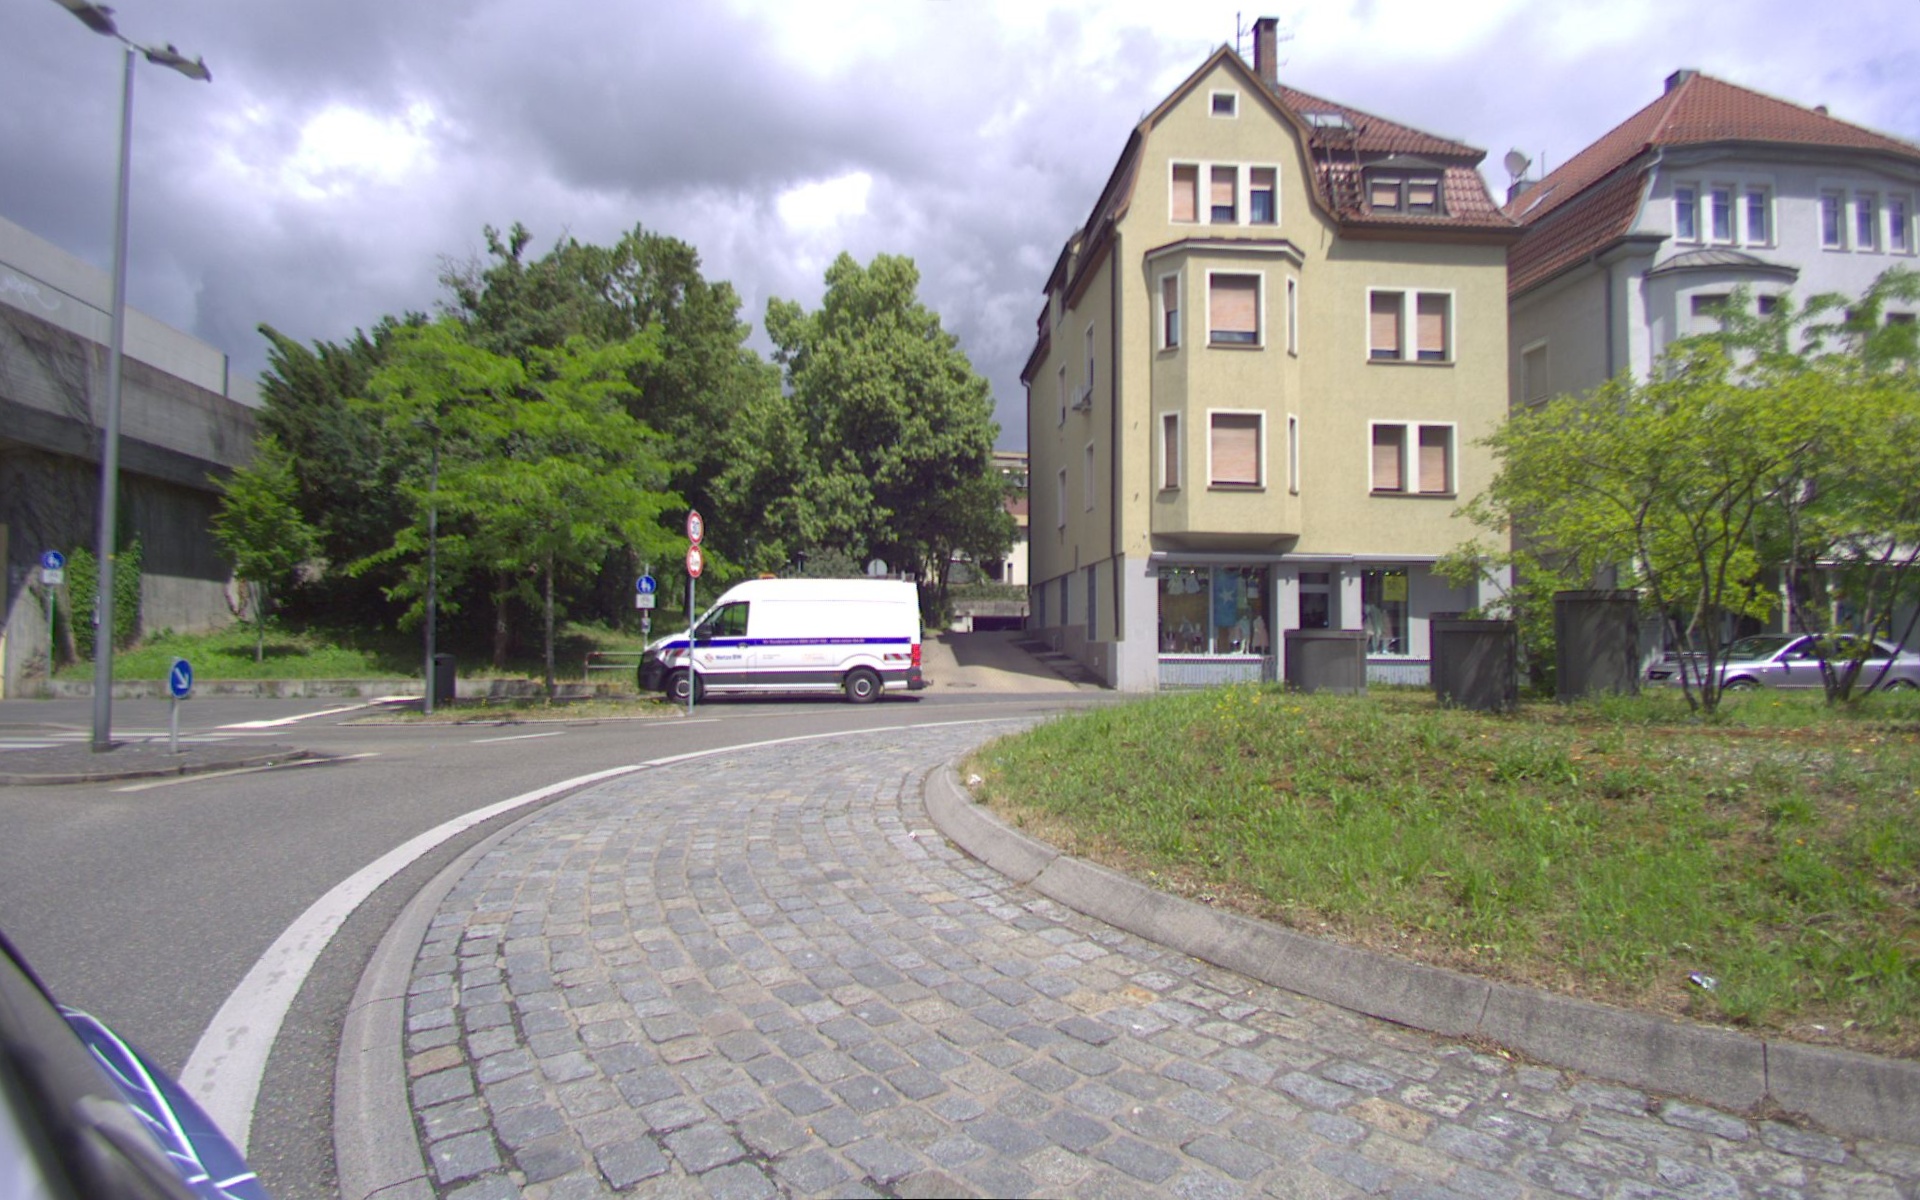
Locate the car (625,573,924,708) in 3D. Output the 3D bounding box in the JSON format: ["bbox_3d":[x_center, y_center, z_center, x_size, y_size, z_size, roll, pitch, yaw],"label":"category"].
[{"bbox_3d":[-3.777,0.787,21.083,5.836,2.626,1.977,0,-1,-8],"label":"car"}]

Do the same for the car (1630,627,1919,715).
[{"bbox_3d":[14.529,1.232,18.043,3.947,1.364,1.713,2,-2,3],"label":"car"}]
